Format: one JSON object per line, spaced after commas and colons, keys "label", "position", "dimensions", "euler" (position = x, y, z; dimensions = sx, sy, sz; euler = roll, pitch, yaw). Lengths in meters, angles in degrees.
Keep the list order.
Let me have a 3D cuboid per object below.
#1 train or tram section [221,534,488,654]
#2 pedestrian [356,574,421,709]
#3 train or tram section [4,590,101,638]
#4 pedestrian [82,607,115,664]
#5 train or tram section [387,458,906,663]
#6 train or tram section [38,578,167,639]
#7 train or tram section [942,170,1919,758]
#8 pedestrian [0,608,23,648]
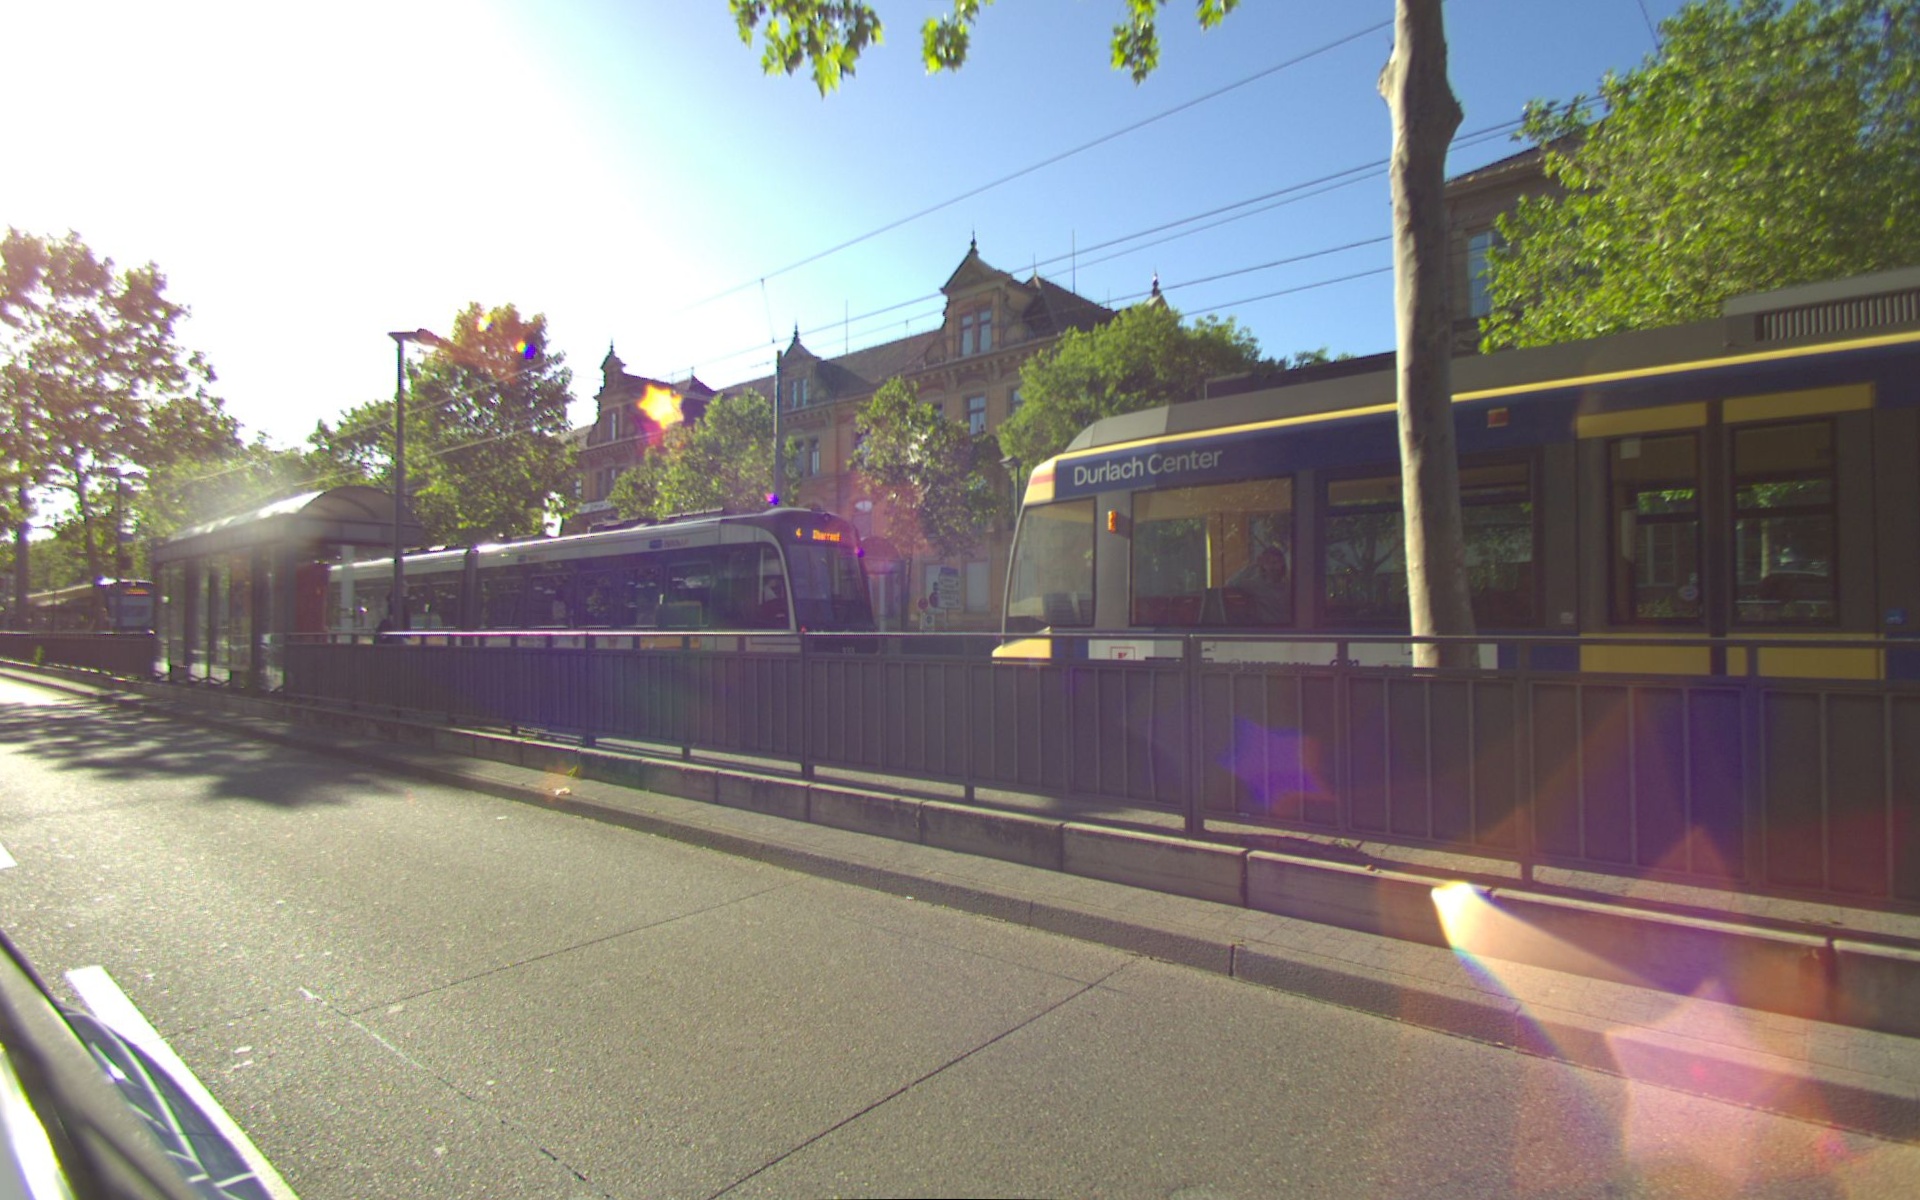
{"label": "train or tram section", "position": [-22.376, 0.040, 36.291], "dimensions": [18.268, 3.460, 2.841], "euler": [-2, -1, 42]}
{"label": "pedestrian", "position": [-7.252, 0.517, 12.840], "dimensions": [0.621, 1.652, 0.560], "euler": [-2, -2, 43]}
{"label": "train or tram section", "position": [-53.322, 0.938, 59.236], "dimensions": [15.066, 2.551, 2.536], "euler": [-2, -2, 42]}
{"label": "pedestrian", "position": [-26.757, 1.095, 31.429], "dimensions": [0.623, 1.723, 0.674], "euler": [-2, -2, 40]}
{"label": "train or tram section", "position": [-8.772, -0.444, 24.166], "dimensions": [18.207, 3.460, 2.819], "euler": [-2, -1, 42]}
{"label": "train or tram section", "position": [-41.822, 0.575, 49.048], "dimensions": [15.668, 2.584, 2.536], "euler": [-2, -2, 42]}
{"label": "train or tram section", "position": [6.737, -0.782, 6.376], "dimensions": [15.886, 3.284, 2.884], "euler": [0, 0, 41]}
{"label": "pedestrian", "position": [-39.907, 1.172, 42.511], "dimensions": [0.761, 1.648, 0.691], "euler": [-2, -2, 41]}
